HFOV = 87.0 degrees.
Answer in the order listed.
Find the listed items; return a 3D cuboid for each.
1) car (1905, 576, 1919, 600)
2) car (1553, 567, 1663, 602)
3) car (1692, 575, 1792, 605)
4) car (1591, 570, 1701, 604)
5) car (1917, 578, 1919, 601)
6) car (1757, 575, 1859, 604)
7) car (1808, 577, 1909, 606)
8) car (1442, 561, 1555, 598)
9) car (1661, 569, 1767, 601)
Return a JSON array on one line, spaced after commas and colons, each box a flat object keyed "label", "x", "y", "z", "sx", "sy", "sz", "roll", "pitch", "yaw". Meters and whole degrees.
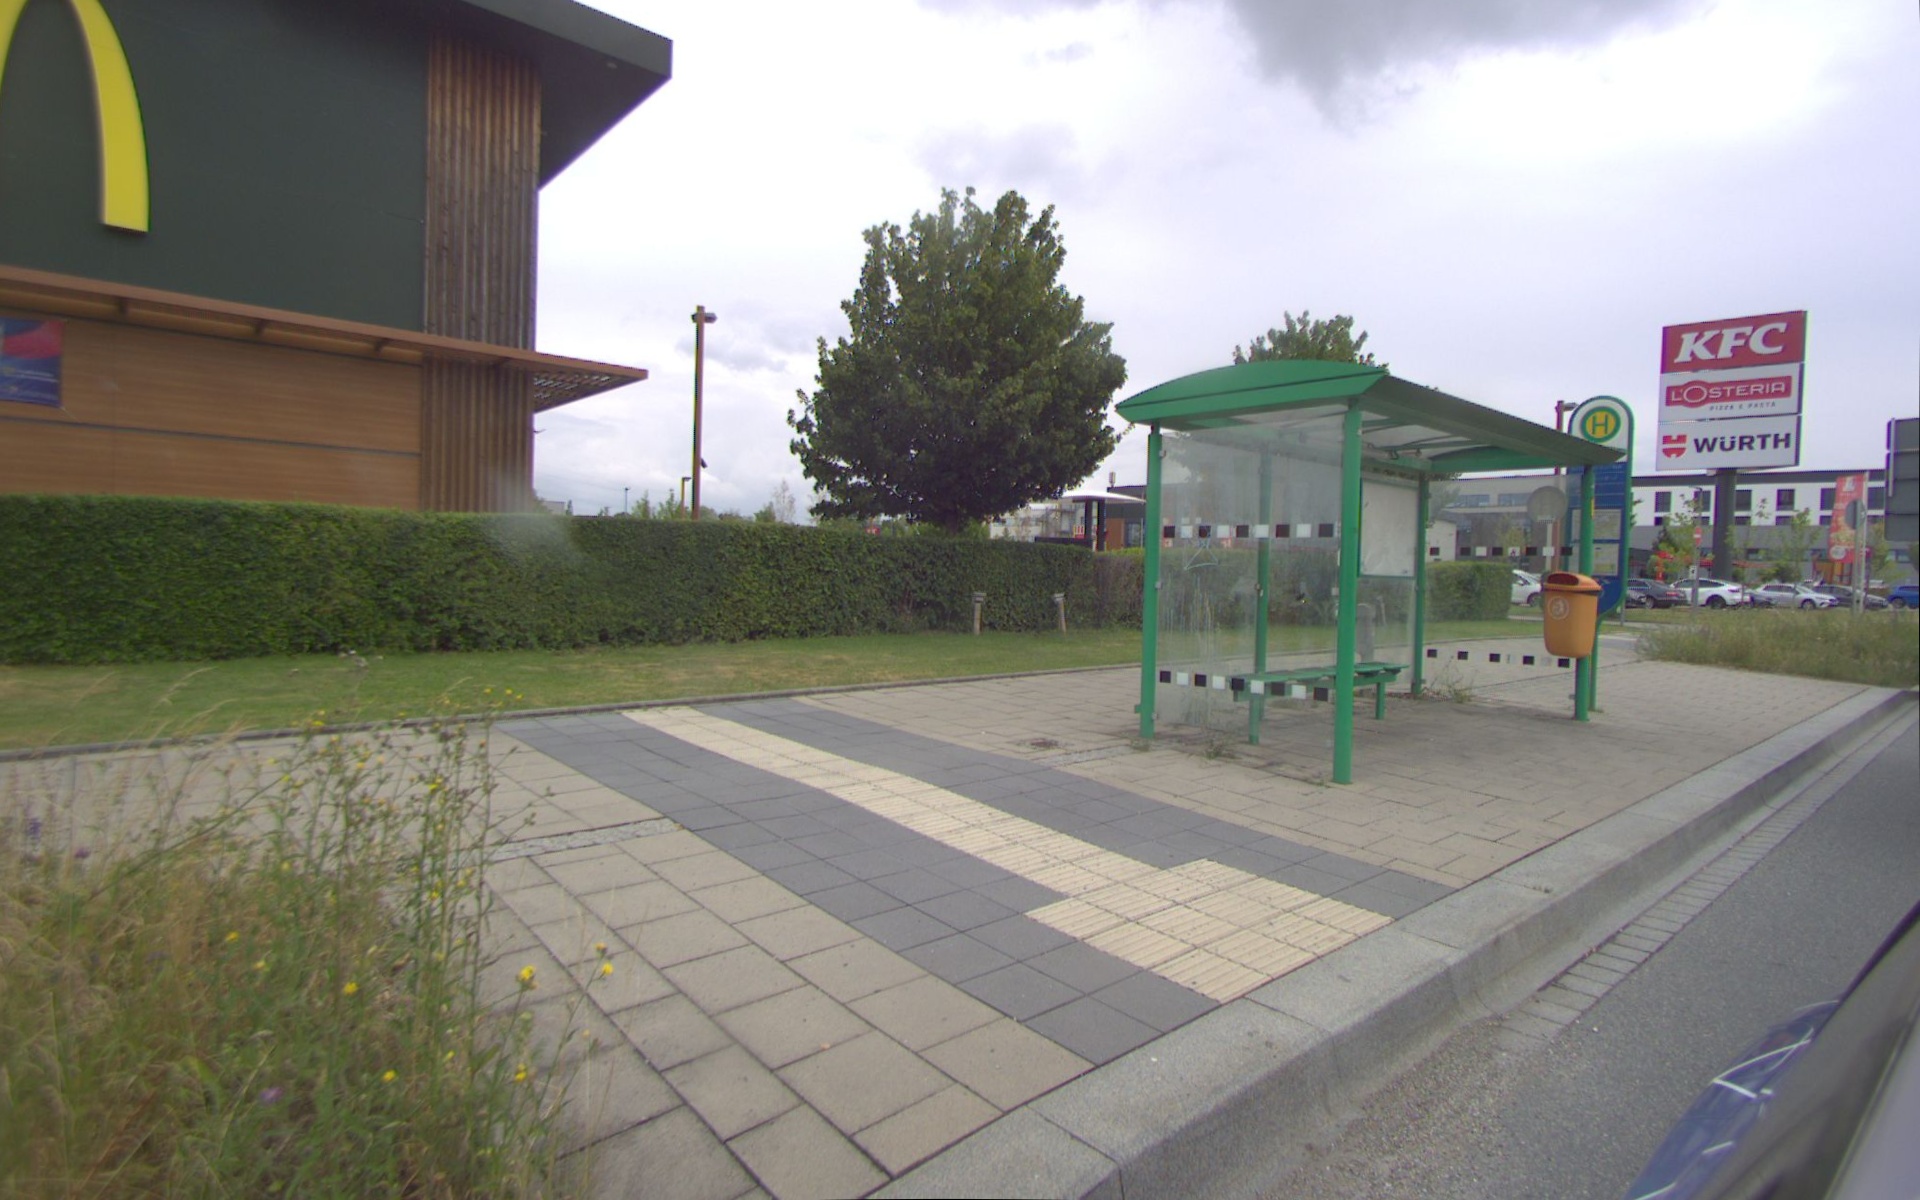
[{"label": "car", "x": 61.100, "y": -0.727, "z": 62.246, "sx": 1.809, "sy": 1.504, "sz": 4.008, "roll": -1, "pitch": 1, "yaw": -24}, {"label": "car", "x": 30.663, "y": -0.761, "z": 47.977, "sx": 1.811, "sy": 1.504, "sz": 4.003, "roll": 0, "pitch": 2, "yaw": -32}, {"label": "car", "x": 43.054, "y": -0.566, "z": 55.790, "sx": 1.811, "sy": 1.504, "sz": 4.003, "roll": 0, "pitch": 2, "yaw": -33}, {"label": "car", "x": 33.256, "y": -0.649, "z": 49.142, "sx": 1.811, "sy": 1.504, "sz": 4.003, "roll": 0, "pitch": 2, "yaw": -32}, {"label": "car", "x": 63.293, "y": -0.651, "z": 63.761, "sx": 1.809, "sy": 1.504, "sz": 4.008, "roll": -1, "pitch": 1, "yaw": -24}, {"label": "car", "x": 47.786, "y": -0.607, "z": 57.106, "sx": 1.810, "sy": 1.504, "sz": 4.007, "roll": 0, "pitch": 2, "yaw": -28}, {"label": "car", "x": 52.167, "y": -0.507, "z": 58.825, "sx": 1.810, "sy": 1.504, "sz": 4.007, "roll": 0, "pitch": 2, "yaw": -28}, {"label": "car", "x": 23.775, "y": -0.932, "z": 44.773, "sx": 1.814, "sy": 1.546, "sz": 3.996, "roll": 0, "pitch": 2, "yaw": -40}, {"label": "car", "x": 39.124, "y": -0.805, "z": 52.593, "sx": 1.811, "sy": 1.541, "sz": 4.003, "roll": 0, "pitch": 2, "yaw": -32}]
